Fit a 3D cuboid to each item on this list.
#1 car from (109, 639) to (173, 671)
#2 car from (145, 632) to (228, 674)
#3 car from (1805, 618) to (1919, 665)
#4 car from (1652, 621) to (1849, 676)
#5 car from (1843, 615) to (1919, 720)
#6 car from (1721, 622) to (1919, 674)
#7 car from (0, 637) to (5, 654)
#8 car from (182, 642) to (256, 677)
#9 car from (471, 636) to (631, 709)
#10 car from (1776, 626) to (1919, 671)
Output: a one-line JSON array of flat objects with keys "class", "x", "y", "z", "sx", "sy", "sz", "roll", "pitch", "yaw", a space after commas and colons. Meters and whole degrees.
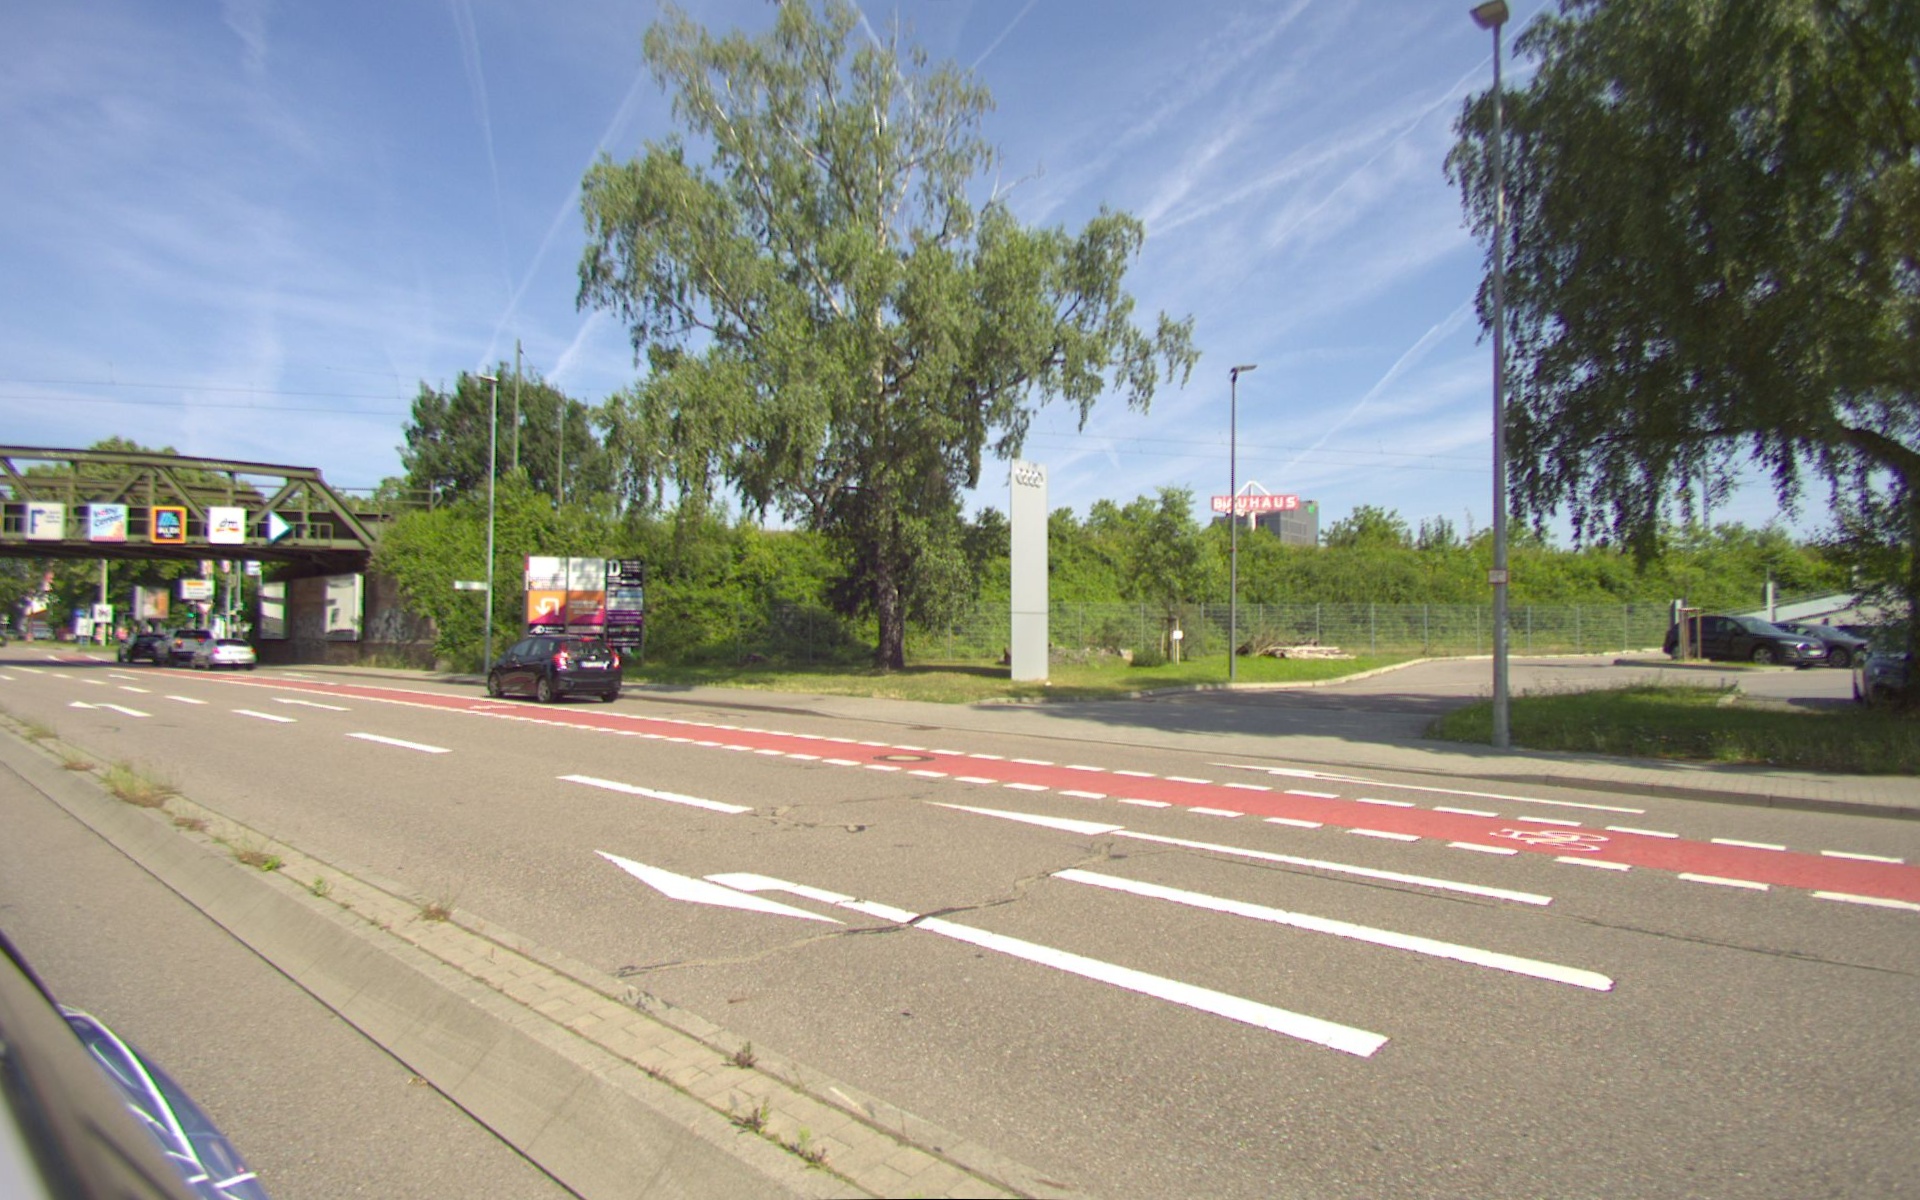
[{"class": "car", "x": -43.380, "y": 2.859, "z": 53.585, "sx": 4.384, "sy": 1.608, "sz": 1.853, "roll": -2, "pitch": -3, "yaw": 41}, {"class": "car", "x": -37.057, "y": 2.530, "z": 48.427, "sx": 5.447, "sy": 1.875, "sz": 1.973, "roll": -2, "pitch": -5, "yaw": 41}, {"class": "car", "x": 32.831, "y": 1.432, "z": 35.400, "sx": 1.783, "sy": 1.558, "sz": 4.776, "roll": 0, "pitch": -1, "yaw": -17}, {"class": "car", "x": 25.675, "y": 1.513, "z": 33.114, "sx": 1.966, "sy": 1.630, "sz": 4.776, "roll": 0, "pitch": -1, "yaw": -17}, {"class": "car", "x": 15.074, "y": 0.961, "z": 15.683, "sx": 1.999, "sy": 1.400, "sz": 4.638, "roll": -2, "pitch": -1, "yaw": 40}, {"class": "car", "x": 28.457, "y": 1.523, "z": 33.617, "sx": 1.966, "sy": 1.536, "sz": 4.776, "roll": 0, "pitch": -1, "yaw": -17}, {"class": "car", "x": -99.827, "y": 4.713, "z": 104.128, "sx": 3.632, "sy": 1.735, "sz": 1.801, "roll": -2, "pitch": -1, "yaw": 39}, {"class": "car", "x": -31.945, "y": 2.548, "z": 43.591, "sx": 4.316, "sy": 1.398, "sz": 1.618, "roll": -2, "pitch": -4, "yaw": 41}, {"class": "car", "x": -9.375, "y": 1.606, "z": 23.079, "sx": 4.024, "sy": 1.530, "sz": 1.680, "roll": -2, "pitch": -4, "yaw": 41}, {"class": "car", "x": 30.934, "y": 1.602, "z": 34.401, "sx": 1.783, "sy": 1.381, "sz": 4.776, "roll": 0, "pitch": -1, "yaw": -17}]
